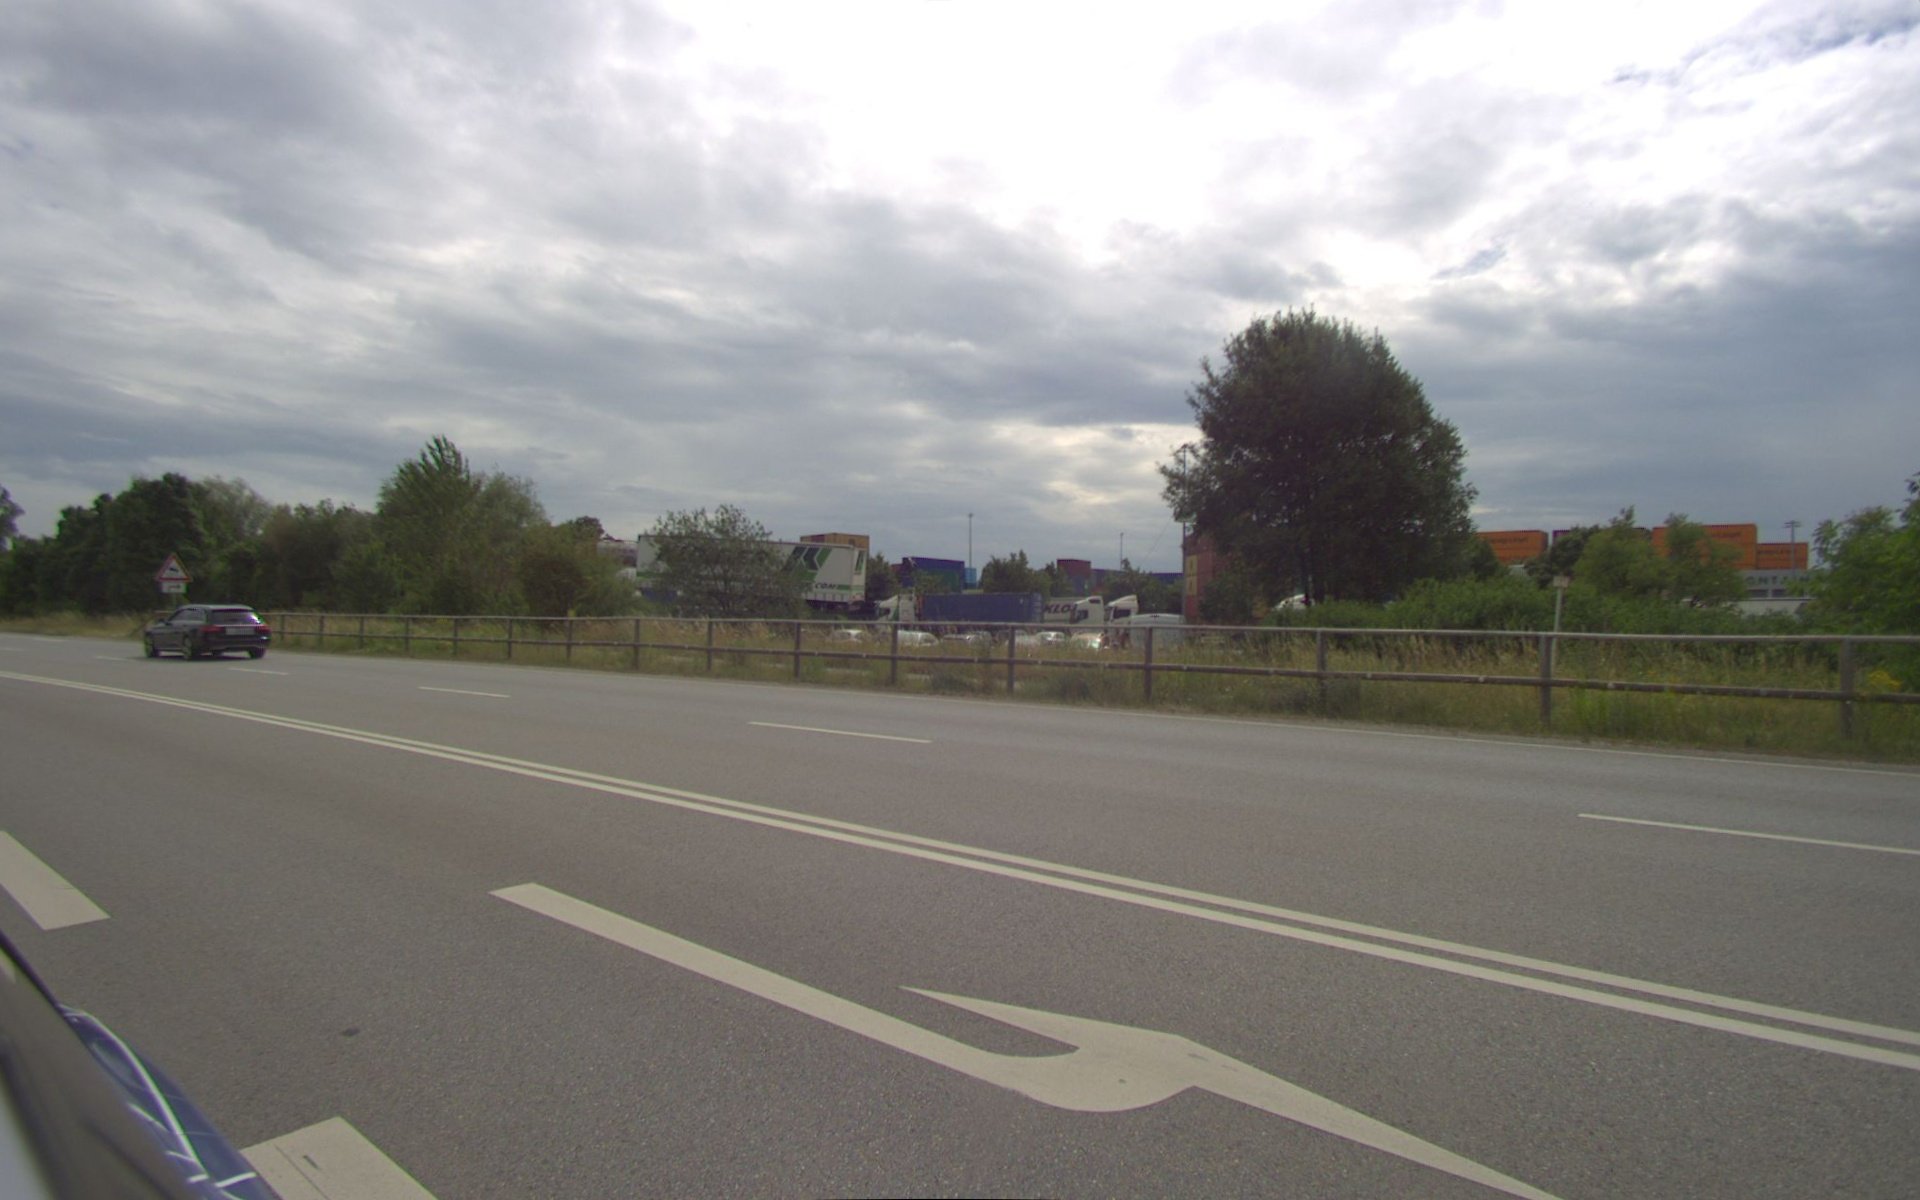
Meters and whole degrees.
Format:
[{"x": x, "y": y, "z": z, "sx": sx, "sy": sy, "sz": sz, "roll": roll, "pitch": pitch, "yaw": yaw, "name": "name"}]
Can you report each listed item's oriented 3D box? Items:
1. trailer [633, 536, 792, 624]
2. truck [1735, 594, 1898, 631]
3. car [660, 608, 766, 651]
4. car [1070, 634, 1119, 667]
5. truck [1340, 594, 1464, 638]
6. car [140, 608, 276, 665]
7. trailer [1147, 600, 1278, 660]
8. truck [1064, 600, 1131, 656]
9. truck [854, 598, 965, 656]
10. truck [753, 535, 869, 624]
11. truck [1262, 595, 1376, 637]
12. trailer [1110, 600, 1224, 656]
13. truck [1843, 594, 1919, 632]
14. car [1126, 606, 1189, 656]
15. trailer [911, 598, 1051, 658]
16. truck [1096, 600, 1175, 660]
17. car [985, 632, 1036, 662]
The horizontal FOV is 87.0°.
[{"x": -14.714, "y": -1.125, "z": 60.261, "sx": 8.888, "sy": 5.034, "sz": 2.798, "roll": 0, "pitch": 0, "yaw": 11, "name": "trailer"}, {"x": 49.638, "y": 0.666, "z": 58.797, "sx": 7.135, "sy": 2.029, "sz": 1.972, "roll": 1, "pitch": 0, "yaw": 43, "name": "truck"}, {"x": -11.625, "y": 1.341, "z": 47.680, "sx": 4.468, "sy": 1.890, "sz": 2.006, "roll": 0, "pitch": 0, "yaw": -29, "name": "car"}, {"x": 7.868, "y": 2.934, "z": 59.062, "sx": 1.833, "sy": 1.732, "sz": 3.968, "roll": 0, "pitch": 0, "yaw": 24, "name": "car"}, {"x": 27.626, "y": 1.011, "z": 63.437, "sx": 6.558, "sy": 2.702, "sz": 2.654, "roll": 0, "pitch": -1, "yaw": -2, "name": "truck"}, {"x": -20.867, "y": 0.970, "z": 28.028, "sx": 4.344, "sy": 1.452, "sz": 1.793, "roll": -1, "pitch": -1, "yaw": 35, "name": "car"}, {"x": 18.875, "y": 2.210, "z": 75.760, "sx": 9.234, "sy": 4.325, "sz": 2.201, "roll": 0, "pitch": -1, "yaw": -5, "name": "trailer"}, {"x": 10.675, "y": 2.154, "z": 78.781, "sx": 4.780, "sy": 4.325, "sz": 2.201, "roll": 0, "pitch": -1, "yaw": -5, "name": "truck"}, {"x": -4.009, "y": 2.073, "z": 79.596, "sx": 8.271, "sy": 4.325, "sz": 3.215, "roll": 0, "pitch": -1, "yaw": 25, "name": "truck"}, {"x": -8.632, "y": -1.145, "z": 59.010, "sx": 6.124, "sy": 5.034, "sz": 2.795, "roll": 0, "pitch": 0, "yaw": 11, "name": "truck"}, {"x": 23.628, "y": 1.055, "z": 66.810, "sx": 6.562, "sy": 2.702, "sz": 2.653, "roll": 0, "pitch": -1, "yaw": 0, "name": "truck"}, {"x": 16.172, "y": 2.169, "z": 79.288, "sx": 8.370, "sy": 4.325, "sz": 2.201, "roll": 0, "pitch": -1, "yaw": -5, "name": "trailer"}, {"x": 52.836, "y": 0.707, "z": 55.795, "sx": 6.231, "sy": 2.029, "sz": 1.972, "roll": 1, "pitch": 0, "yaw": 43, "name": "truck"}, {"x": 7.711, "y": 1.149, "z": 39.193, "sx": 1.982, "sy": 1.747, "sz": 4.560, "roll": -1, "pitch": 0, "yaw": 16, "name": "car"}, {"x": 1.549, "y": 2.088, "z": 76.970, "sx": 10.345, "sy": 4.325, "sz": 3.215, "roll": 0, "pitch": -1, "yaw": 25, "name": "trailer"}, {"x": 12.995, "y": 2.193, "z": 75.233, "sx": 5.347, "sy": 4.325, "sz": 2.201, "roll": 0, "pitch": -1, "yaw": -5, "name": "truck"}, {"x": 3.162, "y": 2.879, "z": 62.617, "sx": 1.833, "sy": 1.732, "sz": 3.968, "roll": 0, "pitch": 0, "yaw": 24, "name": "car"}]
